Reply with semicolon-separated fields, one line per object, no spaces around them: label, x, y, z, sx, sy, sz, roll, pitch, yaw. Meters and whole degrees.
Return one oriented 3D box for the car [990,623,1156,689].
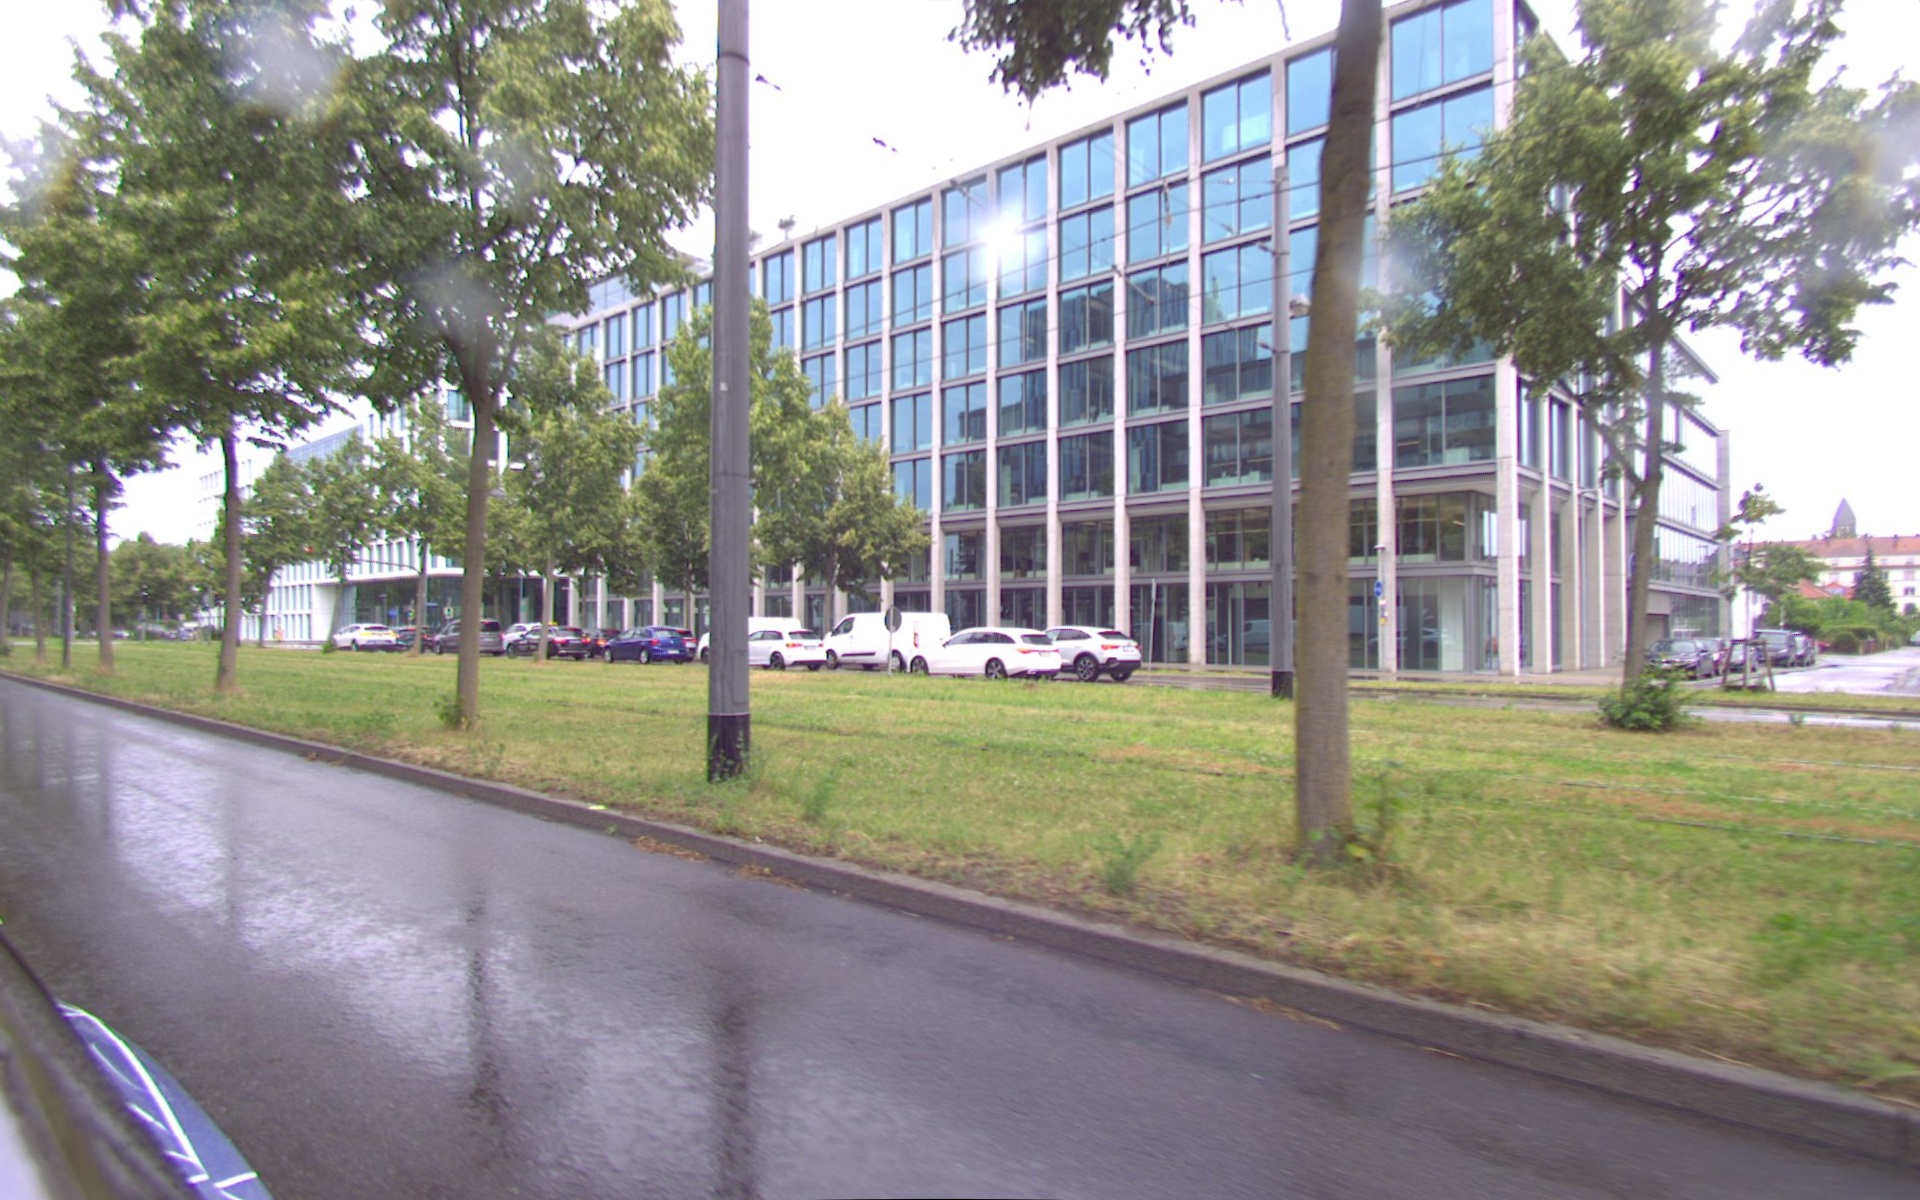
car;3.198;1.562;29.401;4.577;1.762;1.929;-2;-2;44

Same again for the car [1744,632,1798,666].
car;43.061;2.583;53.708;1.745;1.621;4.174;-5;-4;44

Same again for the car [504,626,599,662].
car;-17.805;1.934;44.015;4.600;1.396;1.931;-4;-4;40

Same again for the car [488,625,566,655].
car;-22.437;2.064;52.393;4.267;1.396;1.932;-4;-4;39

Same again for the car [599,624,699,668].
car;-13.674;2.026;44.375;4.628;1.759;1.932;-4;-4;39

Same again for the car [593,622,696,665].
car;-12.281;1.700;39.317;3.957;1.506;1.932;-4;-4;39

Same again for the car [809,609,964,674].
car;-2.615;1.484;35.019;5.371;2.022;2.244;-4;-4;42

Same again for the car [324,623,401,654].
car;-29.865;1.900;50.548;4.573;1.463;1.931;-1;-2;41

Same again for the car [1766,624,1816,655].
car;47.278;2.223;57.562;1.745;1.621;4.174;-5;-4;44

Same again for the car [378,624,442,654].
car;-33.343;2.339;61.305;4.268;1.707;1.931;-1;-2;39

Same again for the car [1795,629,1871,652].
car;67.474;3.127;78.311;4.229;1.621;1.722;-4;-4;37

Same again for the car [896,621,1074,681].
car;0.605;1.419;27.730;4.832;1.472;1.929;-5;-4;44

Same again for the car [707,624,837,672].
car;-6.467;1.597;34.540;4.573;1.525;1.931;-1;-2;41

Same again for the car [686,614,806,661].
car;-8.579;1.515;40.287;5.023;1.664;1.932;-4;-4;39

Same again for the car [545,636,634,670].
car;-17.637;2.533;48.032;4.619;1.457;1.840;-4;-4;39

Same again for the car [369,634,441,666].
car;-29.572;2.678;53.886;4.460;1.571;1.931;-3;-3;40

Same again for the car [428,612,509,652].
car;-24.075;1.605;49.503;4.540;1.863;1.931;-3;-3;40
